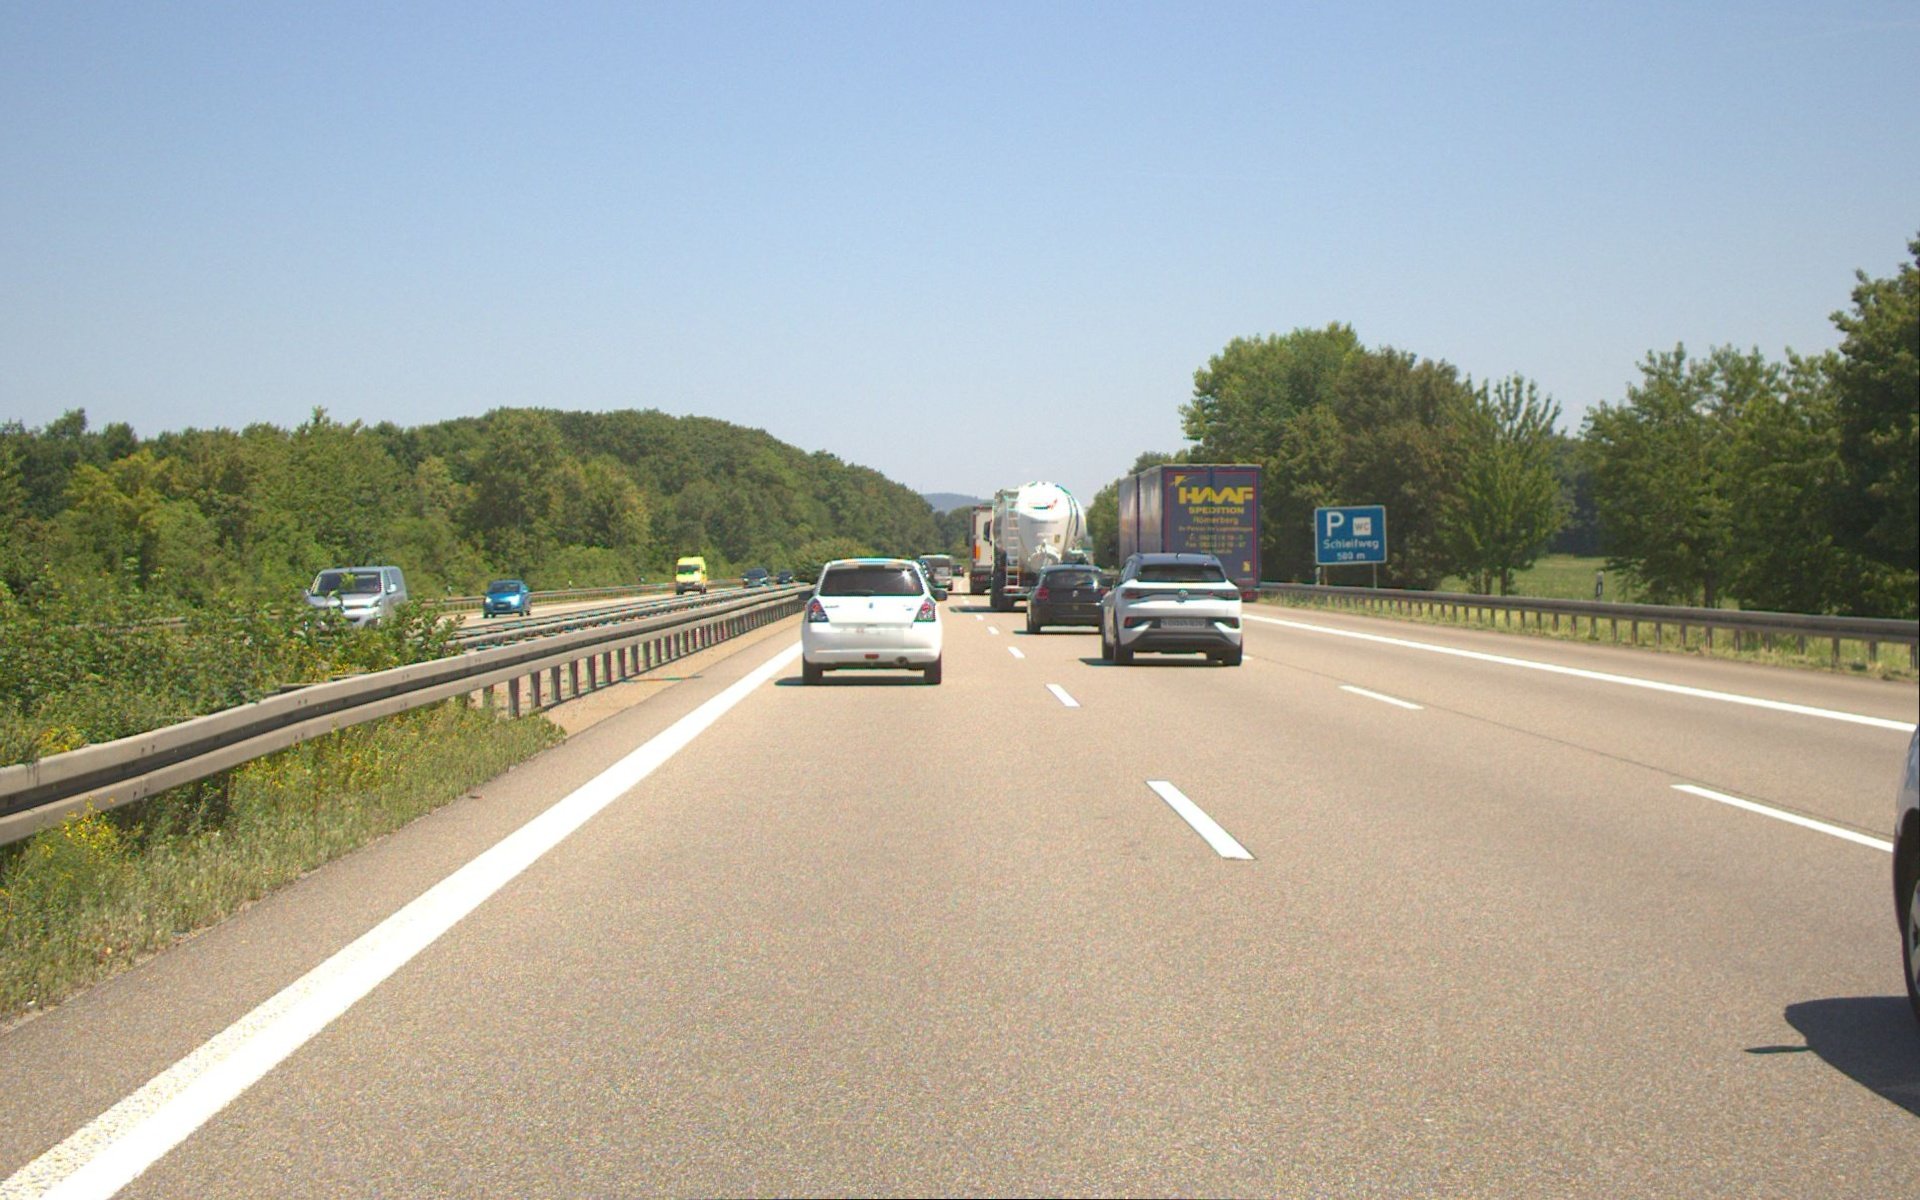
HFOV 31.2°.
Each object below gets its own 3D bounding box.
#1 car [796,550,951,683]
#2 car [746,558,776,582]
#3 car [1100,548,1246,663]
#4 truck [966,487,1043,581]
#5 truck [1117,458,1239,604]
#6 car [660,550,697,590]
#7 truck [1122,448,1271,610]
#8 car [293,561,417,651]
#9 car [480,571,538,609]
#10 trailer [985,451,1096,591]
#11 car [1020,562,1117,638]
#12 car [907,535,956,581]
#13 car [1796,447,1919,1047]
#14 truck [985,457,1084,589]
[{"bbox_3d":[-1.058,0.167,42.210,1.799,1.546,3.610,1,1,-1],"label":"car"},{"bbox_3d":[-14.578,-2.217,251.937,1.868,1.684,4.627,-3,1,-1],"label":"car"},{"bbox_3d":[3.078,0.050,50.433,1.802,1.597,4.381,1,1,-1],"label":"car"},{"bbox_3d":[2.019,-3.033,159.907,3.394,4.199,12.083,1,1,0],"label":"truck"},{"bbox_3d":[6.402,-2.020,102.000,3.109,4.124,8.056,1,1,0],"label":"truck"},{"bbox_3d":[-20.099,-2.164,245.544,2.165,2.770,5.800,-3,1,-1],"label":"car"},{"bbox_3d":[6.423,-1.921,95.749,3.109,4.124,15.511,1,1,0],"label":"truck"},{"bbox_3d":[-14.239,0.104,81.165,2.041,1.918,5.228,-3,1,-1],"label":"car"},{"bbox_3d":[-18.029,-0.413,137.443,1.564,1.419,3.471,-3,0,4],"label":"car"},{"bbox_3d":[2.402,-2.387,106.434,2.911,4.055,12.419,1,1,-1],"label":"trailer"},{"bbox_3d":[2.233,-0.026,71.582,1.850,1.518,3.957,1,1,-1],"label":"car"},{"bbox_3d":[-1.479,-2.210,181.476,2.475,2.346,5.181,1,1,0],"label":"car"},{"bbox_3d":[3.926,0.477,9.732,1.853,1.856,4.702,1,1,-1],"label":"car"},{"bbox_3d":[2.357,-2.445,110.670,2.912,4.065,7.195,1,1,-1],"label":"truck"}]
